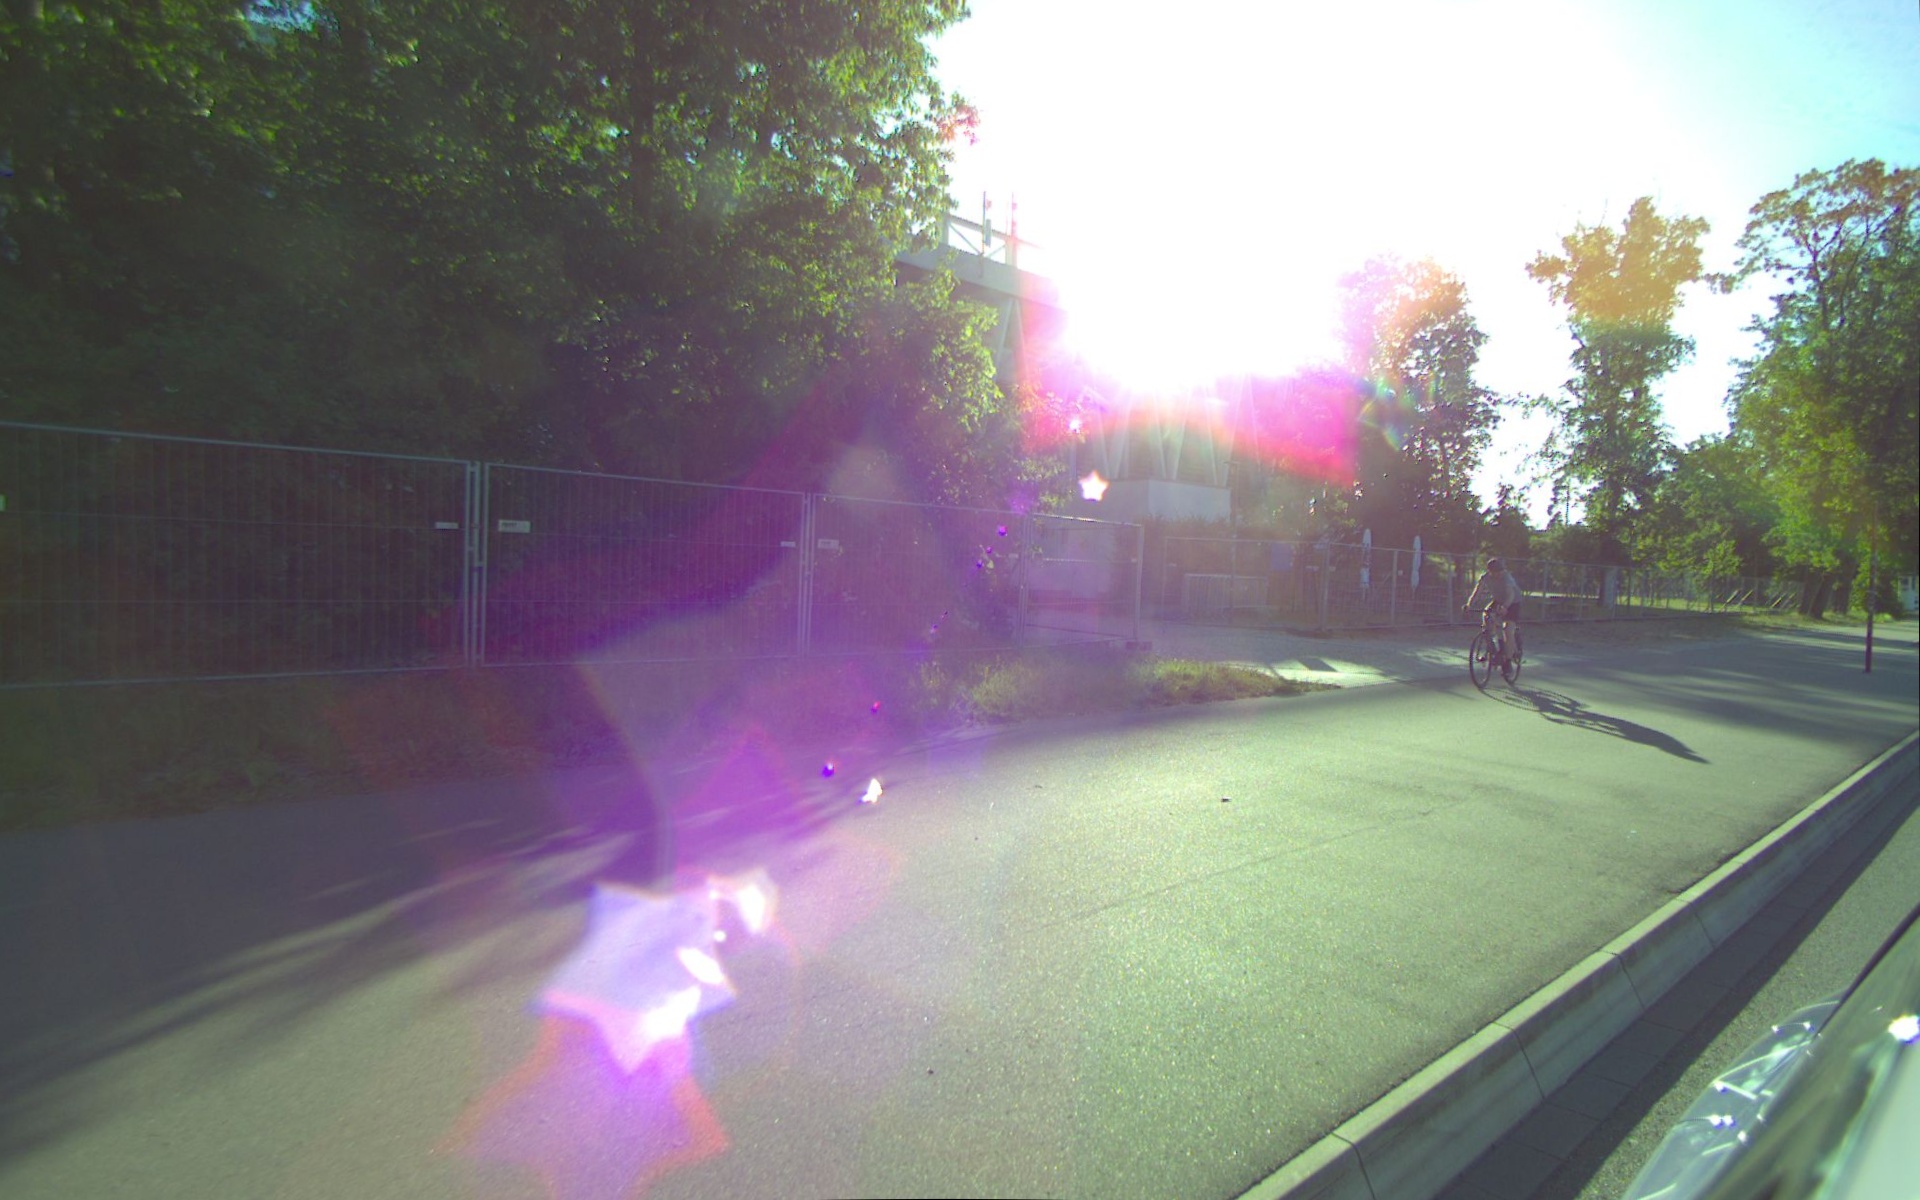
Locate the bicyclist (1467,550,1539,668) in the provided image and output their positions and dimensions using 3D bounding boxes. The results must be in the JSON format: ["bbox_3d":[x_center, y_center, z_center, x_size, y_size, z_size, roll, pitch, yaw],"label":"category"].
[{"bbox_3d":[7.116,0.101,13.253,0.846,1.487,0.521,0,2,-41],"label":"bicyclist"}]

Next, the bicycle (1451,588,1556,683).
[{"bbox_3d":[7.179,0.428,13.326,1.831,1.151,0.555,0,3,-41],"label":"bicycle"}]
